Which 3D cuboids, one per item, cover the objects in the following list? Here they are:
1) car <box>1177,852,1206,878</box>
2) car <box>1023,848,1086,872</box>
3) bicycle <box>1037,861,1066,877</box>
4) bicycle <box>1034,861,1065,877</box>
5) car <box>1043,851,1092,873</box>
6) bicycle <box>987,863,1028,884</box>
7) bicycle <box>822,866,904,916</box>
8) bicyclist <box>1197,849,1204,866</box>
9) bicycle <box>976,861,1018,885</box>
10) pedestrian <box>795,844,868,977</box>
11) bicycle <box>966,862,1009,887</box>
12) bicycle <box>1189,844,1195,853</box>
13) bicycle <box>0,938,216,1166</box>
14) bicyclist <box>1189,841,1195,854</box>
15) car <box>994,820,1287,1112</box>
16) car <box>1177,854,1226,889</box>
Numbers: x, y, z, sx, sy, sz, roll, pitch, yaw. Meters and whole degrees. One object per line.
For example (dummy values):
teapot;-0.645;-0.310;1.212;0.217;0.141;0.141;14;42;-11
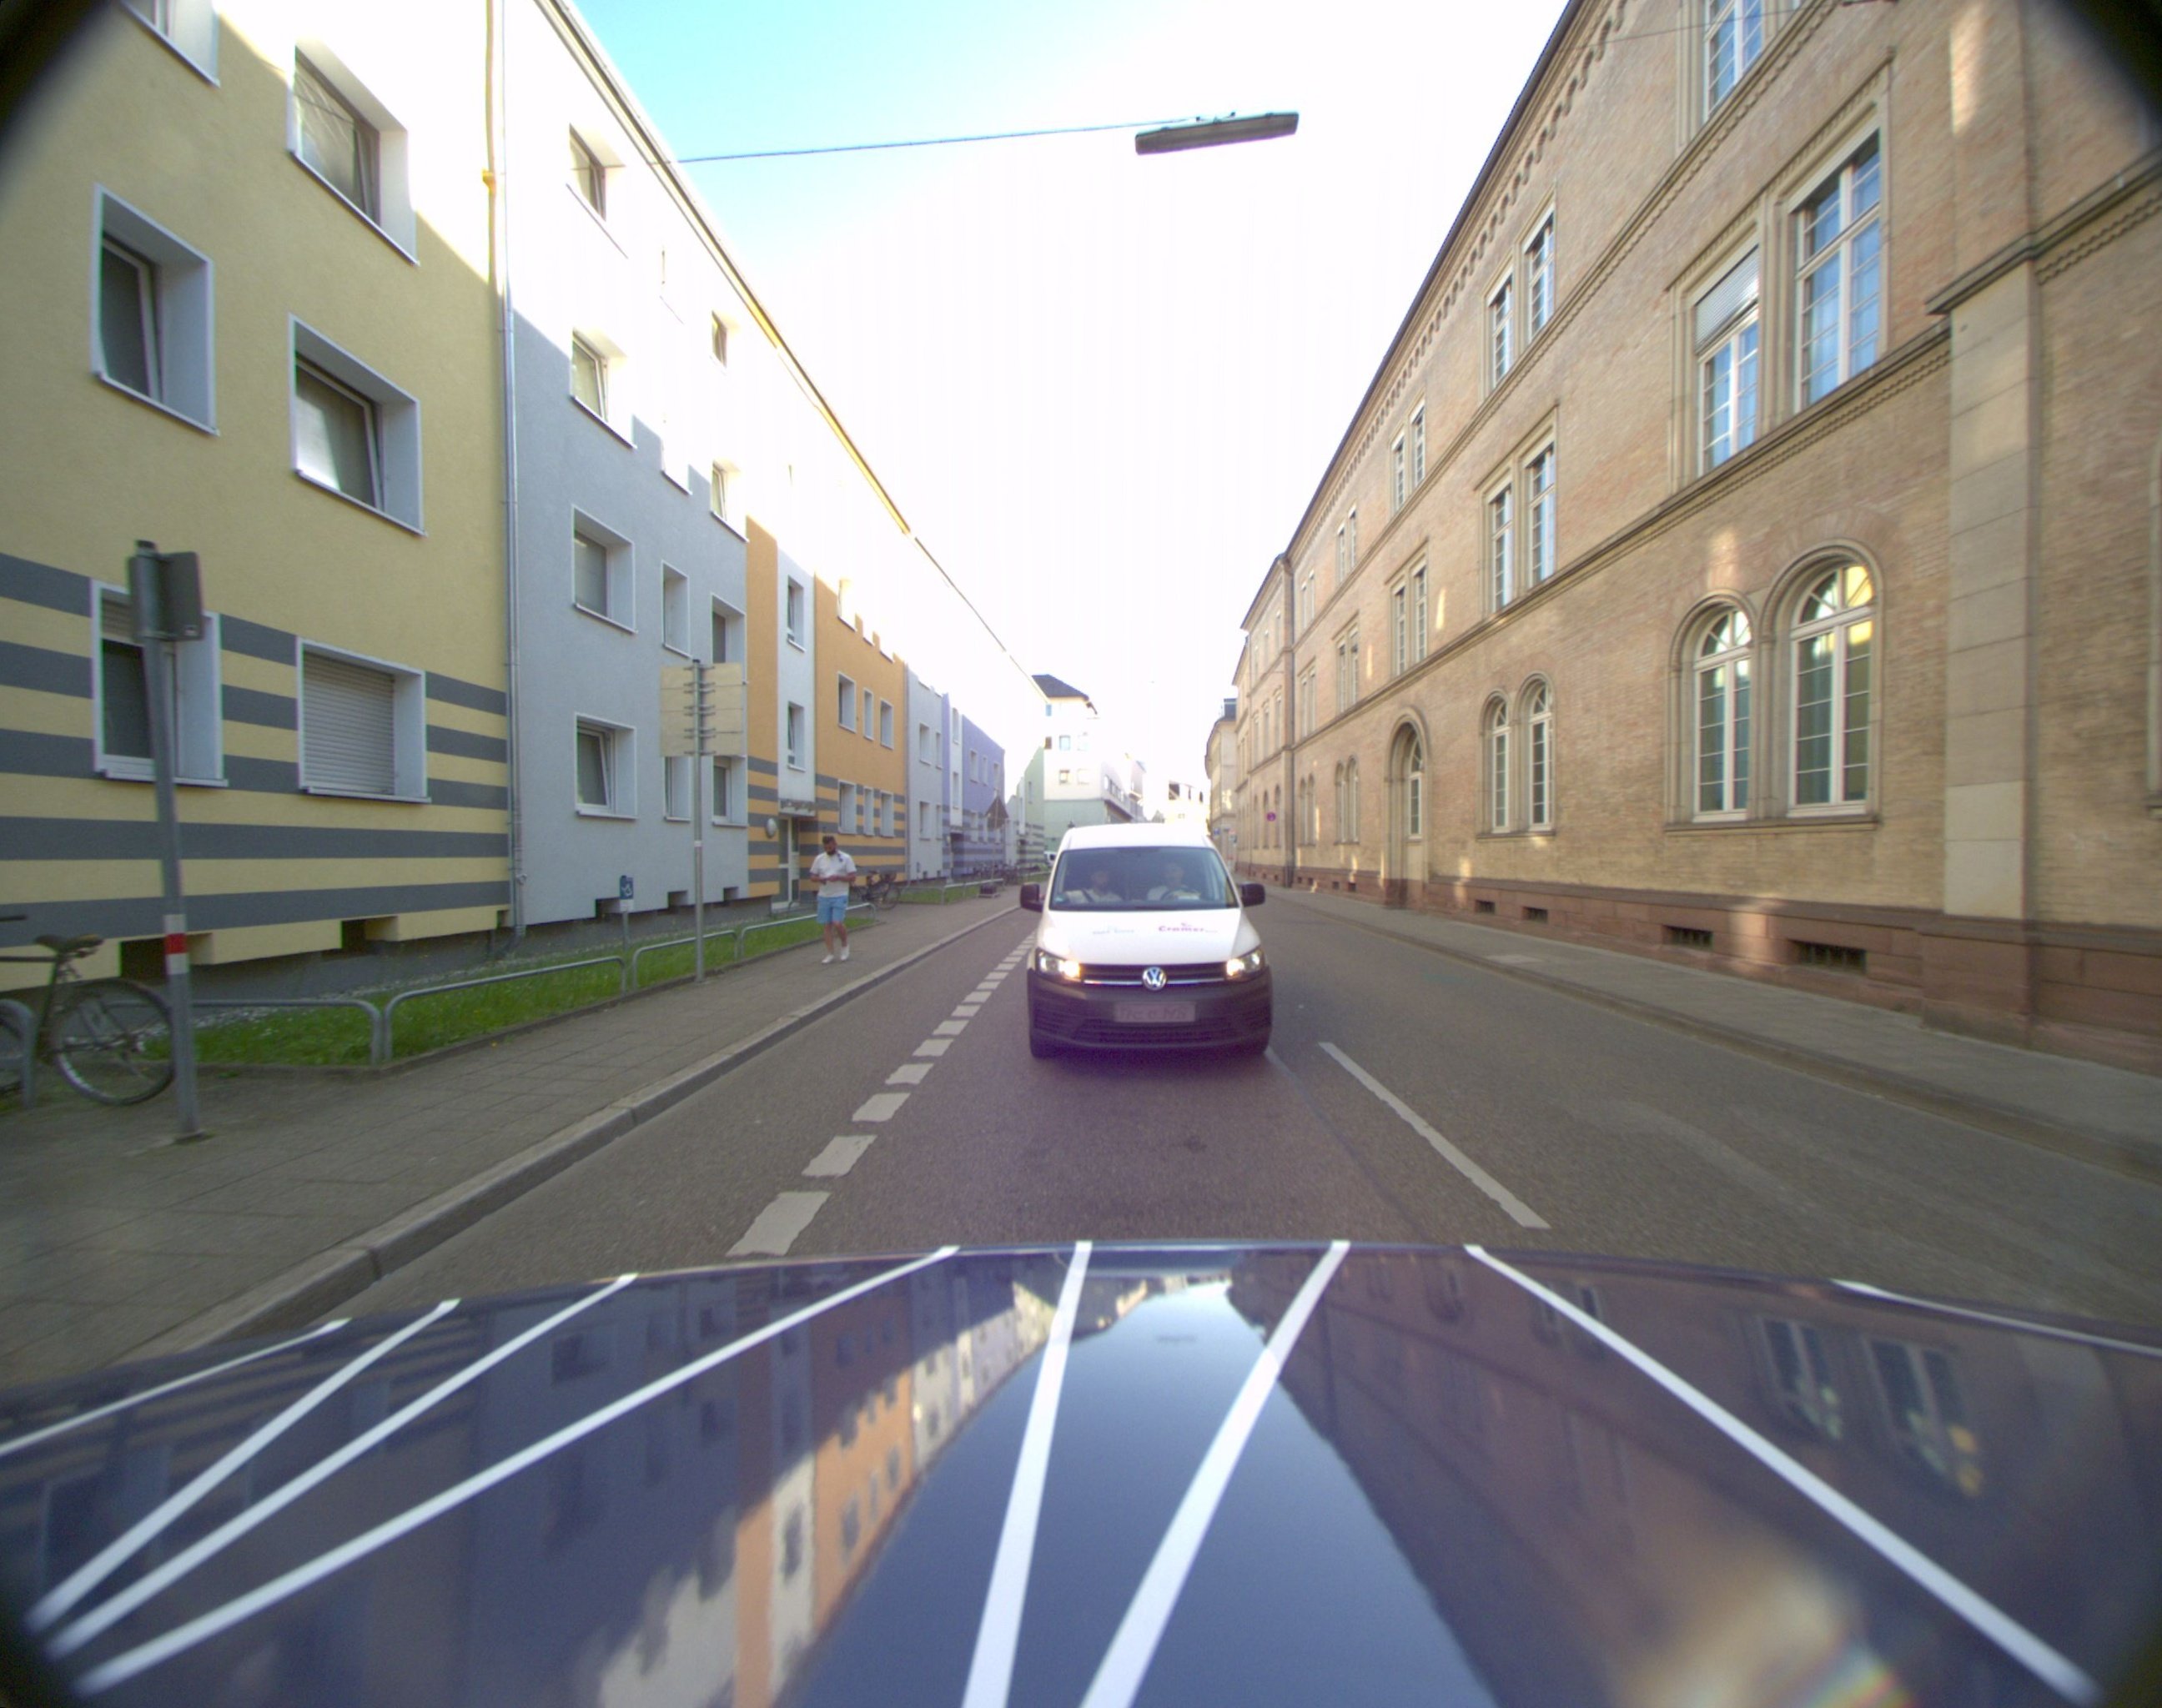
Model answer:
car;7.306;0.709;50.376;1.689;1.573;4.276;2;0;6
car;-2.088;0.464;61.425;4.761;1.927;2.001;0;1;9
bicycle;-1.869;0.976;48.810;1.775;0.934;0.584;2;1;8
bicycle;-1.960;0.955;47.273;1.775;0.934;0.584;2;1;8
car;-1.117;0.697;64.670;3.995;1.682;1.901;-2;1;5
bicycle;-3.389;0.894;35.028;1.775;0.934;0.584;2;1;8
bicycle;-5.239;0.880;18.325;1.776;1.118;0.583;1;1;-1
bicyclist;10.185;0.262;64.700;0.604;1.434;0.578;0;1;5
bicycle;-3.783;0.860;34.414;1.775;0.990;0.584;2;1;8
pedestrian;-3.263;0.712;9.990;0.644;1.662;0.834;1;1;3
bicycle;-4.069;0.879;33.074;1.775;0.990;0.584;2;1;8
bicycle;13.351;-0.670;91.139;0.651;1.001;1.808;2;0;10
bicycle;-5.823;1.003;3.998;1.777;1.043;0.583;1;1;-4
bicyclist;13.343;-0.757;91.131;0.651;1.558;0.961;2;1;9
car;0.428;0.692;7.414;1.819;1.826;5.341;0;0;1
car;5.732;0.776;36.639;1.891;1.467;4.546;2;1;4
